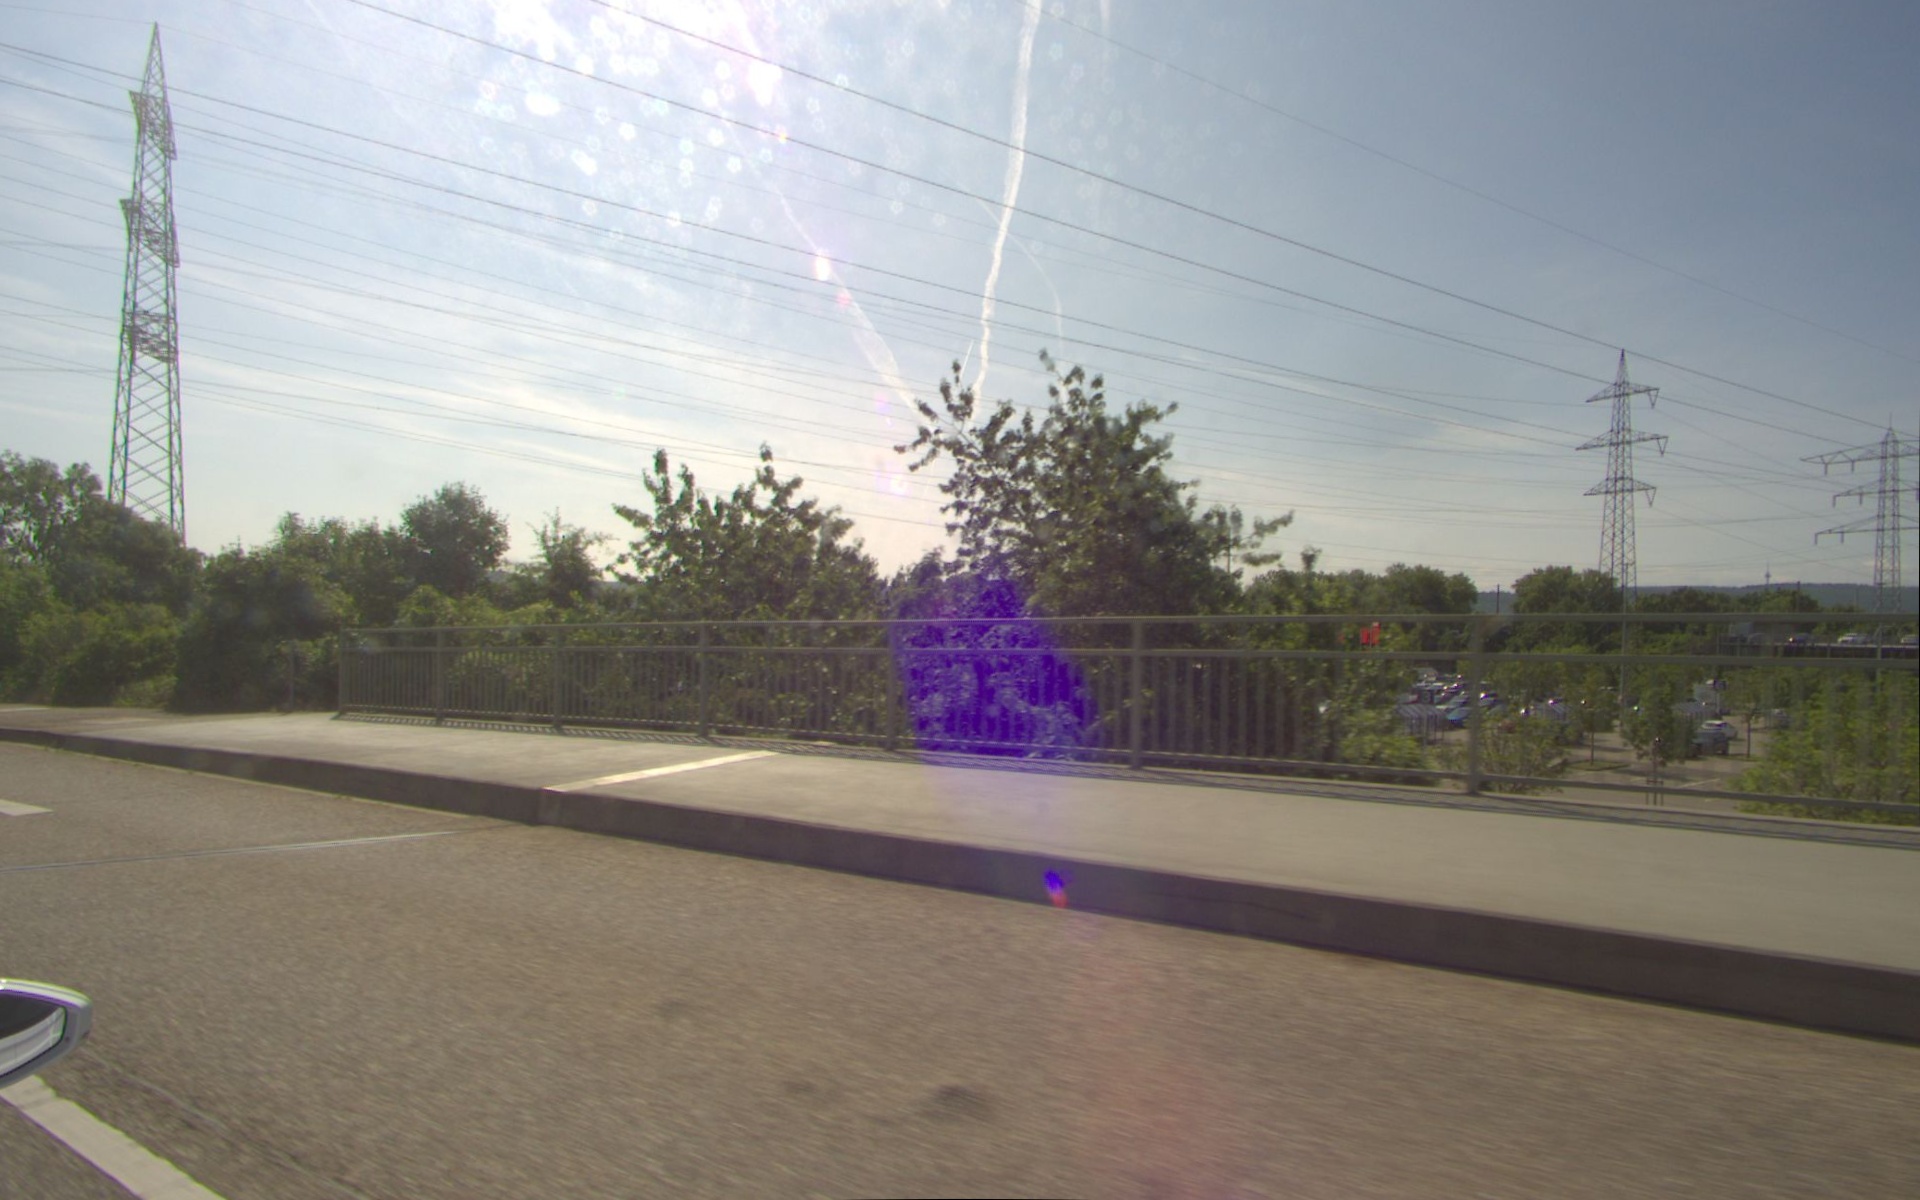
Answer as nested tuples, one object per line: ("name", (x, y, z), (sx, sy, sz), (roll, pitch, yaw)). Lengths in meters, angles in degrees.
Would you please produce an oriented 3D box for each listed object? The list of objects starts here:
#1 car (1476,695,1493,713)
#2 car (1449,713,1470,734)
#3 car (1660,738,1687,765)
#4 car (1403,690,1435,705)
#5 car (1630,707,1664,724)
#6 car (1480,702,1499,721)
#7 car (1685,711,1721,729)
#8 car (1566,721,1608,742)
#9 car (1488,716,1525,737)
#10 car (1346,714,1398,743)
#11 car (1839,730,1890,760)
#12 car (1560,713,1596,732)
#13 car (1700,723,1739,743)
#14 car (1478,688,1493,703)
("car", (51.834, 10.254, 98.946), (1.372, 1.378, 3.145), (2, 0, 30))
("car", (41.685, 10.263, 83.492), (1.372, 1.378, 3.145), (2, 0, 30))
("car", (48.055, 10.173, 67.451), (1.374, 1.378, 3.140), (2, 0, 34))
("car", (48.128, 10.251, 105.041), (3.112, 1.378, 1.387), (2, 0, -28))
("car", (66.410, 11.128, 96.773), (3.112, 1.378, 1.387), (2, 0, -28))
("car", (48.537, 10.243, 91.760), (1.372, 1.378, 3.145), (2, 0, 30))
("car", (68.927, 11.125, 92.883), (3.112, 1.378, 1.387), (2, 0, -28))
("car", (49.529, 10.336, 79.073), (3.112, 1.378, 1.387), (2, 0, -28))
("car", (44.499, 10.283, 81.521), (3.120, 1.378, 1.383), (2, 0, -36))
("car", (30.522, 9.467, 74.144), (3.905, 1.740, 1.881), (1, 0, -40))
("car", (66.953, 10.681, 74.114), (3.949, 1.747, 1.986), (1, 0, -35))
("car", (53.083, 10.481, 85.944), (3.116, 1.378, 1.385), (2, 0, -33))
("car", (62.641, 10.986, 82.579), (3.112, 1.378, 1.387), (2, 0, -28))
("car", (57.647, 10.483, 109.867), (1.372, 1.378, 3.145), (2, 0, 30))
